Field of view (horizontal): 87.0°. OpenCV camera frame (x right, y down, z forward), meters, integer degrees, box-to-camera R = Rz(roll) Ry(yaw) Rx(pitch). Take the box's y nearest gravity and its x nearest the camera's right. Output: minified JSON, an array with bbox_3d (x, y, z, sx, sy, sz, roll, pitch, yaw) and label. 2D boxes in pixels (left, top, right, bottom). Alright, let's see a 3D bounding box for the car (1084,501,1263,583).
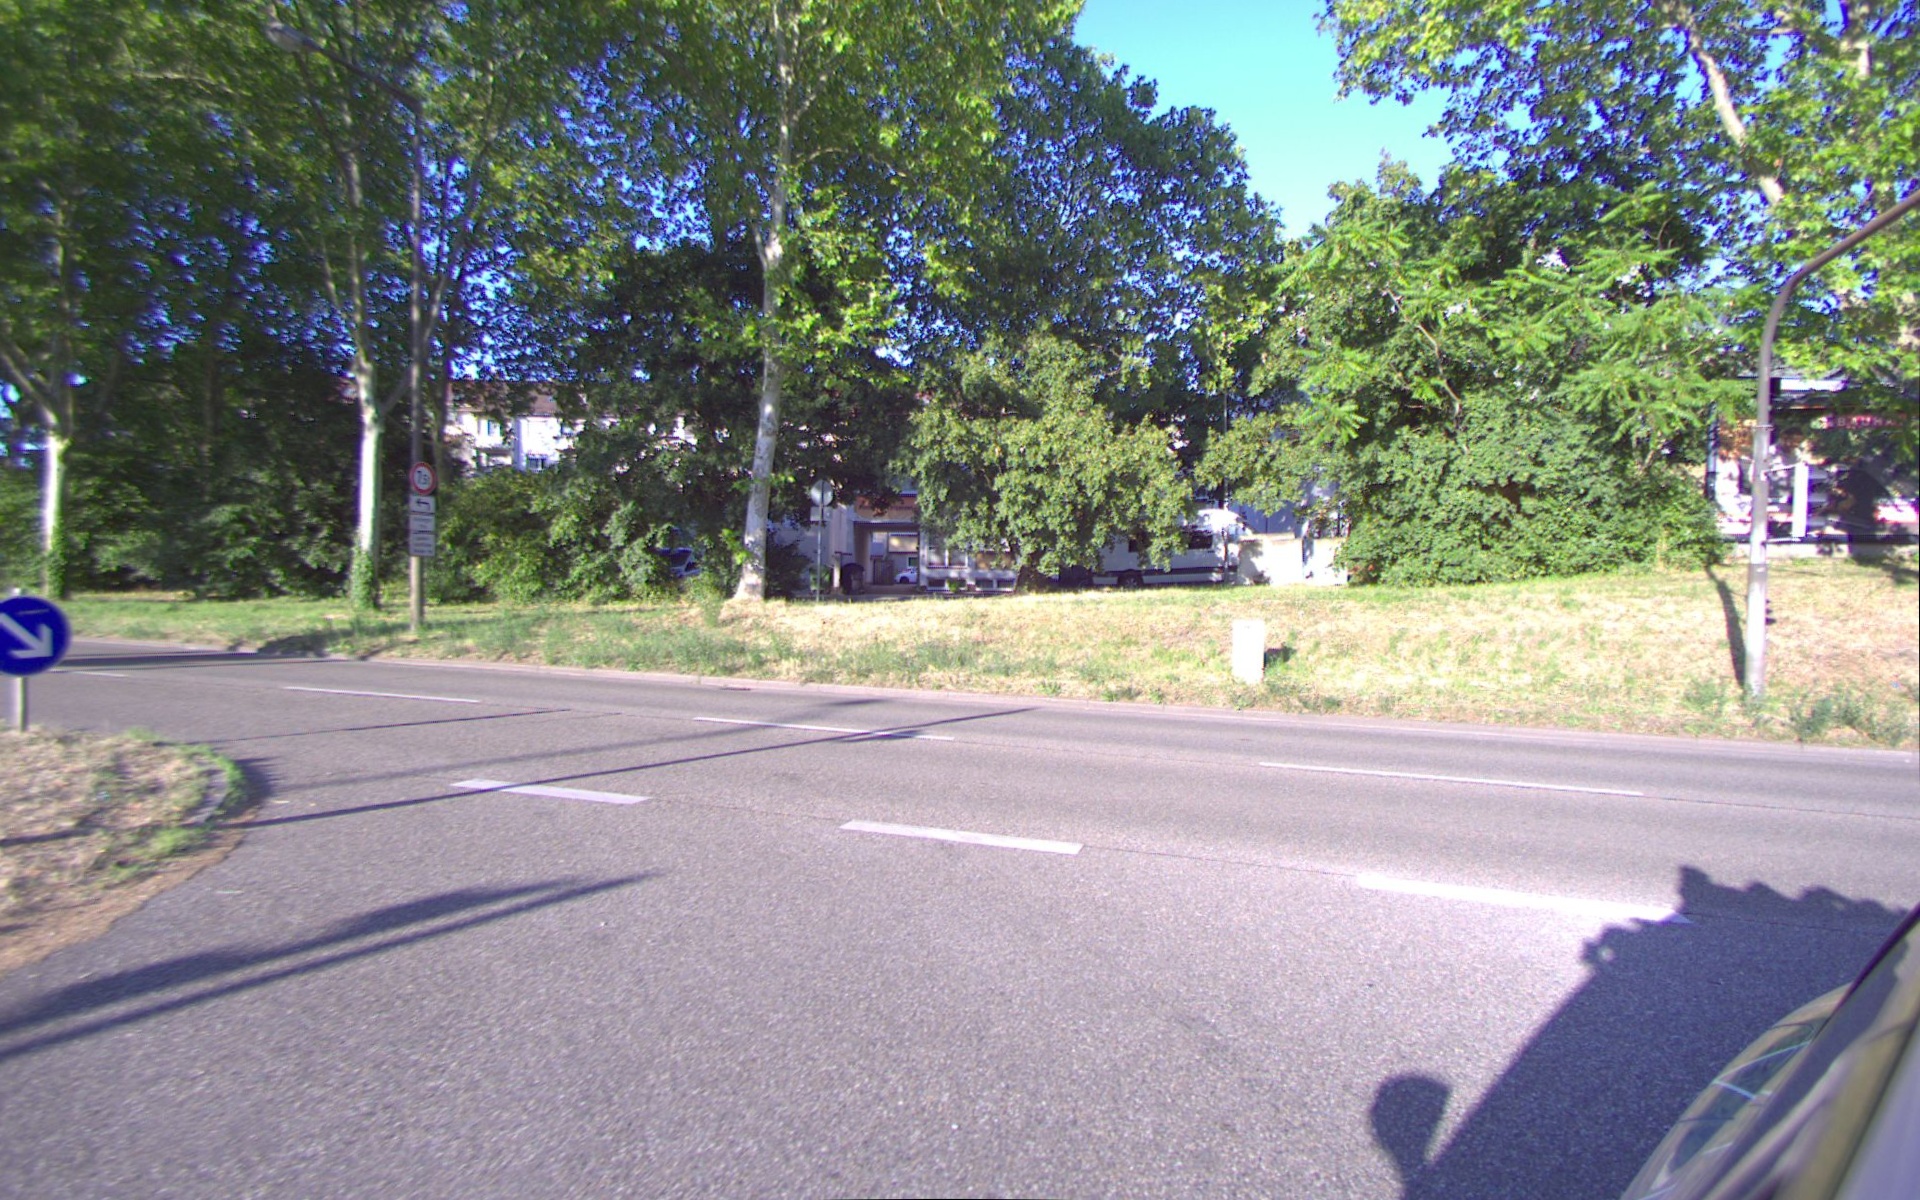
[{"bbox_3d":[7.055,-1.884,33.566,5.563,2.544,1.793,1,0,23],"label":"car"}]
